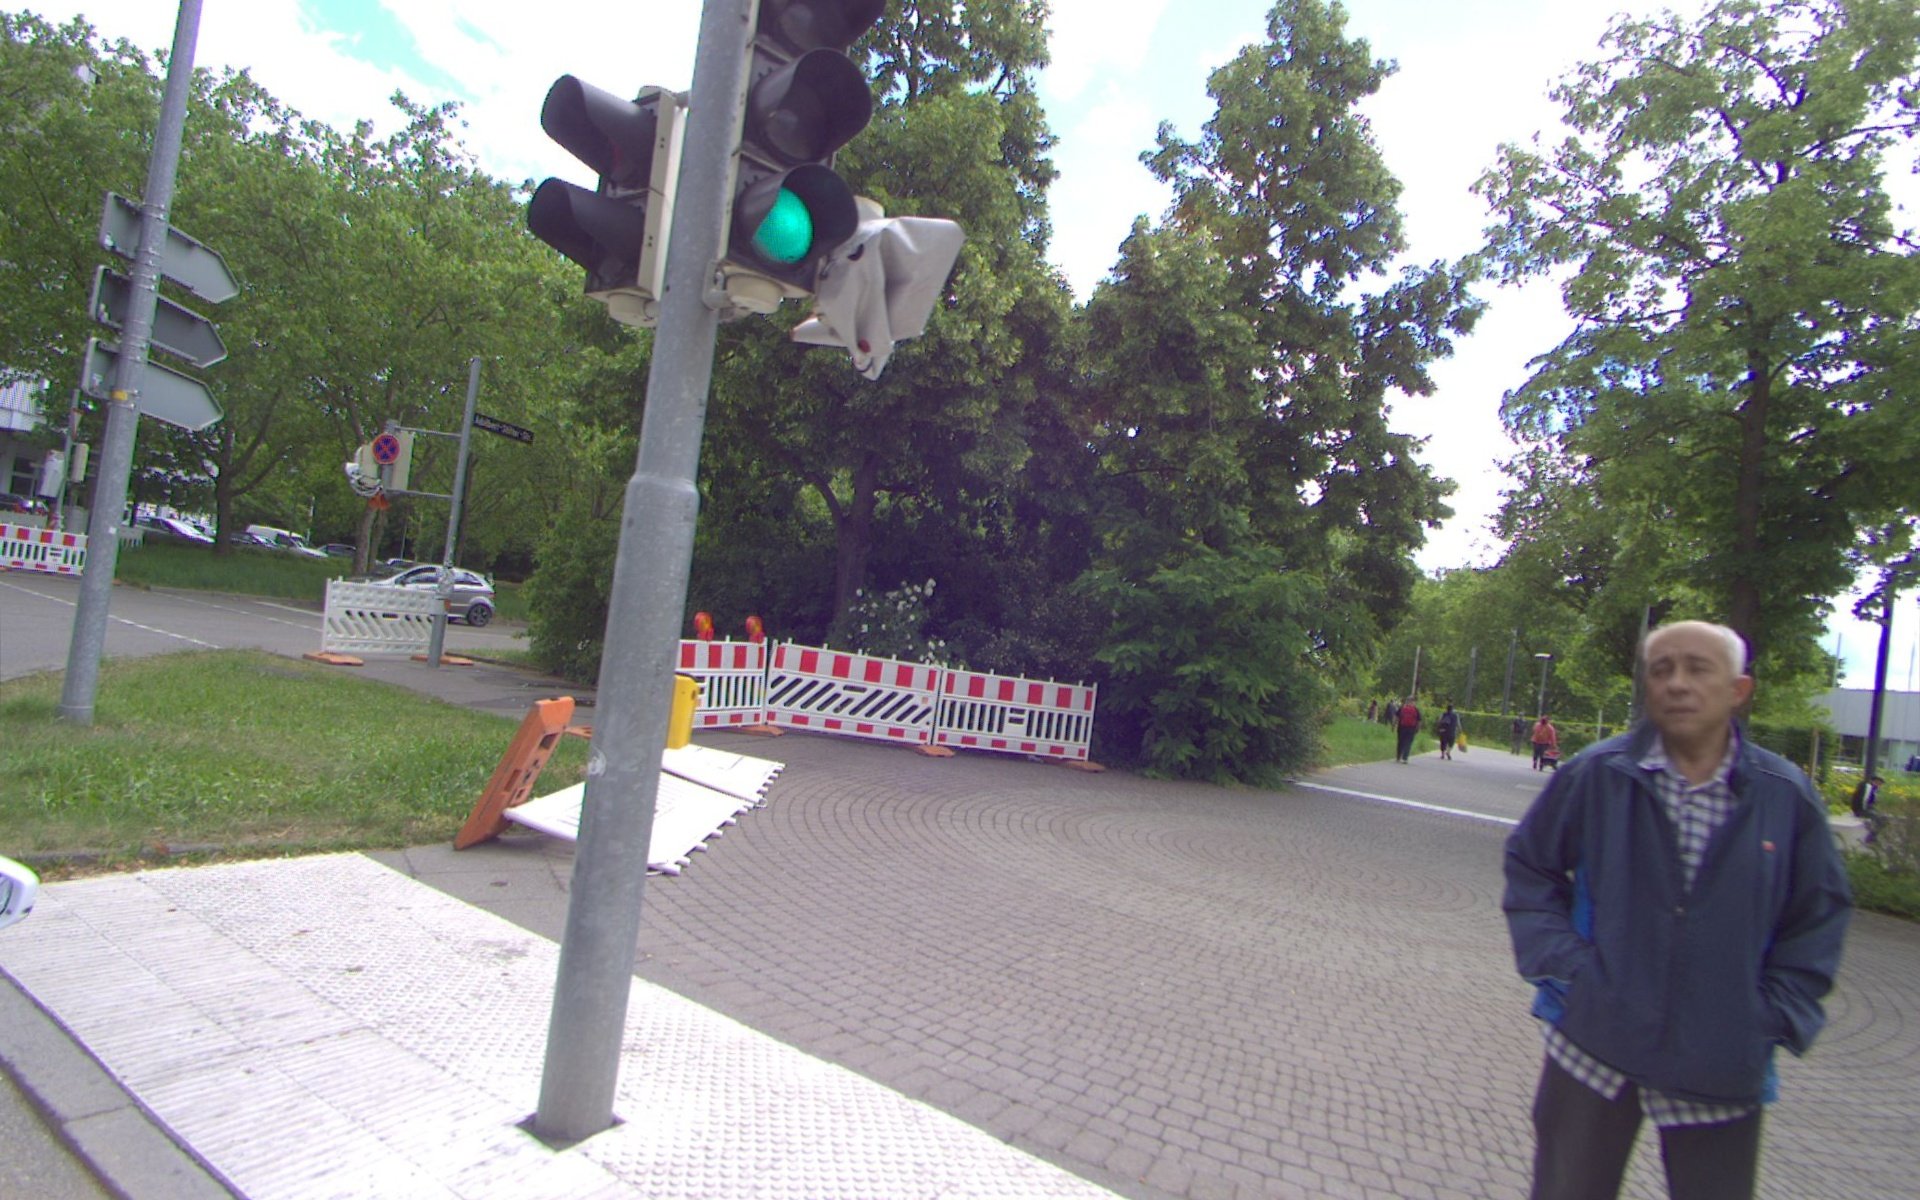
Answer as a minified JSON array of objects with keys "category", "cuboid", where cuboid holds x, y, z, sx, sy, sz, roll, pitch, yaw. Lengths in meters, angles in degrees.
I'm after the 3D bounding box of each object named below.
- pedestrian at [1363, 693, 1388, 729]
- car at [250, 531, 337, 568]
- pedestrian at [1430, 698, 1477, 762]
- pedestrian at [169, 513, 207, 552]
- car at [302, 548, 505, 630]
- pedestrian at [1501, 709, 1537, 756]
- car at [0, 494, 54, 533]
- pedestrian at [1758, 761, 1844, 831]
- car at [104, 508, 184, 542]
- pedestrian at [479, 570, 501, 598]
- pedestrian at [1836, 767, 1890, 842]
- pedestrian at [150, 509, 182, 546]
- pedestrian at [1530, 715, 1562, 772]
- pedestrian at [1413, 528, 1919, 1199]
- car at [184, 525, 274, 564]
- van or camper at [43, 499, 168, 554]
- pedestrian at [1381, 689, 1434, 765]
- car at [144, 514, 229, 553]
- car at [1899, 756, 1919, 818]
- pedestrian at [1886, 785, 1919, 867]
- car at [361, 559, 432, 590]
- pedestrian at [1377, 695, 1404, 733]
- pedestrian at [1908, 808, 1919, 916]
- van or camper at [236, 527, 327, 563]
[{"category":"pedestrian","cuboid":[21.102,5.639,51.102,0.974,1.671,0.871,7,-1,23]},{"category":"car","cuboid":[-37.365,-2.798,56.441,3.819,1.482,1.486,7,-2,3]},{"category":"pedestrian","cuboid":[14.166,3.716,28.900,0.974,1.671,0.871,7,-1,23]},{"category":"pedestrian","cuboid":[-42.757,-3.730,55.701,1.039,1.892,1.077,6,-2,13]},{"category":"car","cuboid":[-14.983,-0.242,27.318,1.745,1.604,4.403,5,-3,34]},{"category":"pedestrian","cuboid":[22.166,5.240,39.921,0.974,1.671,0.871,7,-1,23]},{"category":"car","cuboid":[-46.636,-4.340,48.650,4.187,1.517,1.736,7,-2,7]},{"category":"pedestrian","cuboid":[13.656,3.176,16.347,0.703,0.959,0.748,8,-1,-19]},{"category":"car","cuboid":[-47.142,-4.335,58.155,3.344,1.420,1.486,7,-2,3]},{"category":"pedestrian","cuboid":[-36.547,-1.260,78.269,0.968,1.971,1.085,9,-3,-3]},{"category":"pedestrian","cuboid":[17.176,3.876,19.150,0.560,1.277,0.582,6,-2,31]},{"category":"pedestrian","cuboid":[-37.992,-3.450,48.133,0.785,1.604,0.796,6,-2,25]},{"category":"pedestrian","cuboid":[16.816,4.104,28.862,0.625,1.519,0.704,7,-1,31]},{"category":"pedestrian","cuboid":[1.449,0.818,2.112,0.716,1.760,0.954,7,-1,32]},{"category":"car","cuboid":[-36.653,-2.777,50.459,3.344,1.420,1.487,7,-2,4]},{"category":"van or camper","cuboid":[-37.358,-3.204,44.036,3.924,1.704,1.848,7,-1,6]},{"category":"pedestrian","cuboid":[10.830,3.065,24.387,0.974,1.671,0.871,7,-1,23]},{"category":"car","cuboid":[-47.078,-4.039,61.285,3.750,1.653,1.675,8,-2,3]},{"category":"car","cuboid":[29.472,5.657,29.095,1.606,1.786,3.510,6,-3,10]},{"category":"pedestrian","cuboid":[11.427,2.688,11.754,0.685,0.874,0.651,7,-1,30]},{"category":"car","cuboid":[-37.668,-1.719,67.247,3.673,1.517,1.736,7,-2,7]},{"category":"pedestrian","cuboid":[20.527,5.417,47.998,0.974,1.671,0.871,7,-1,23]},{"category":"pedestrian","cuboid":[9.313,2.120,9.177,0.685,1.715,0.651,7,-1,30]},{"category":"van or camper","cuboid":[-36.371,-2.938,53.950,3.705,1.372,1.519,7,-2,0]}]
